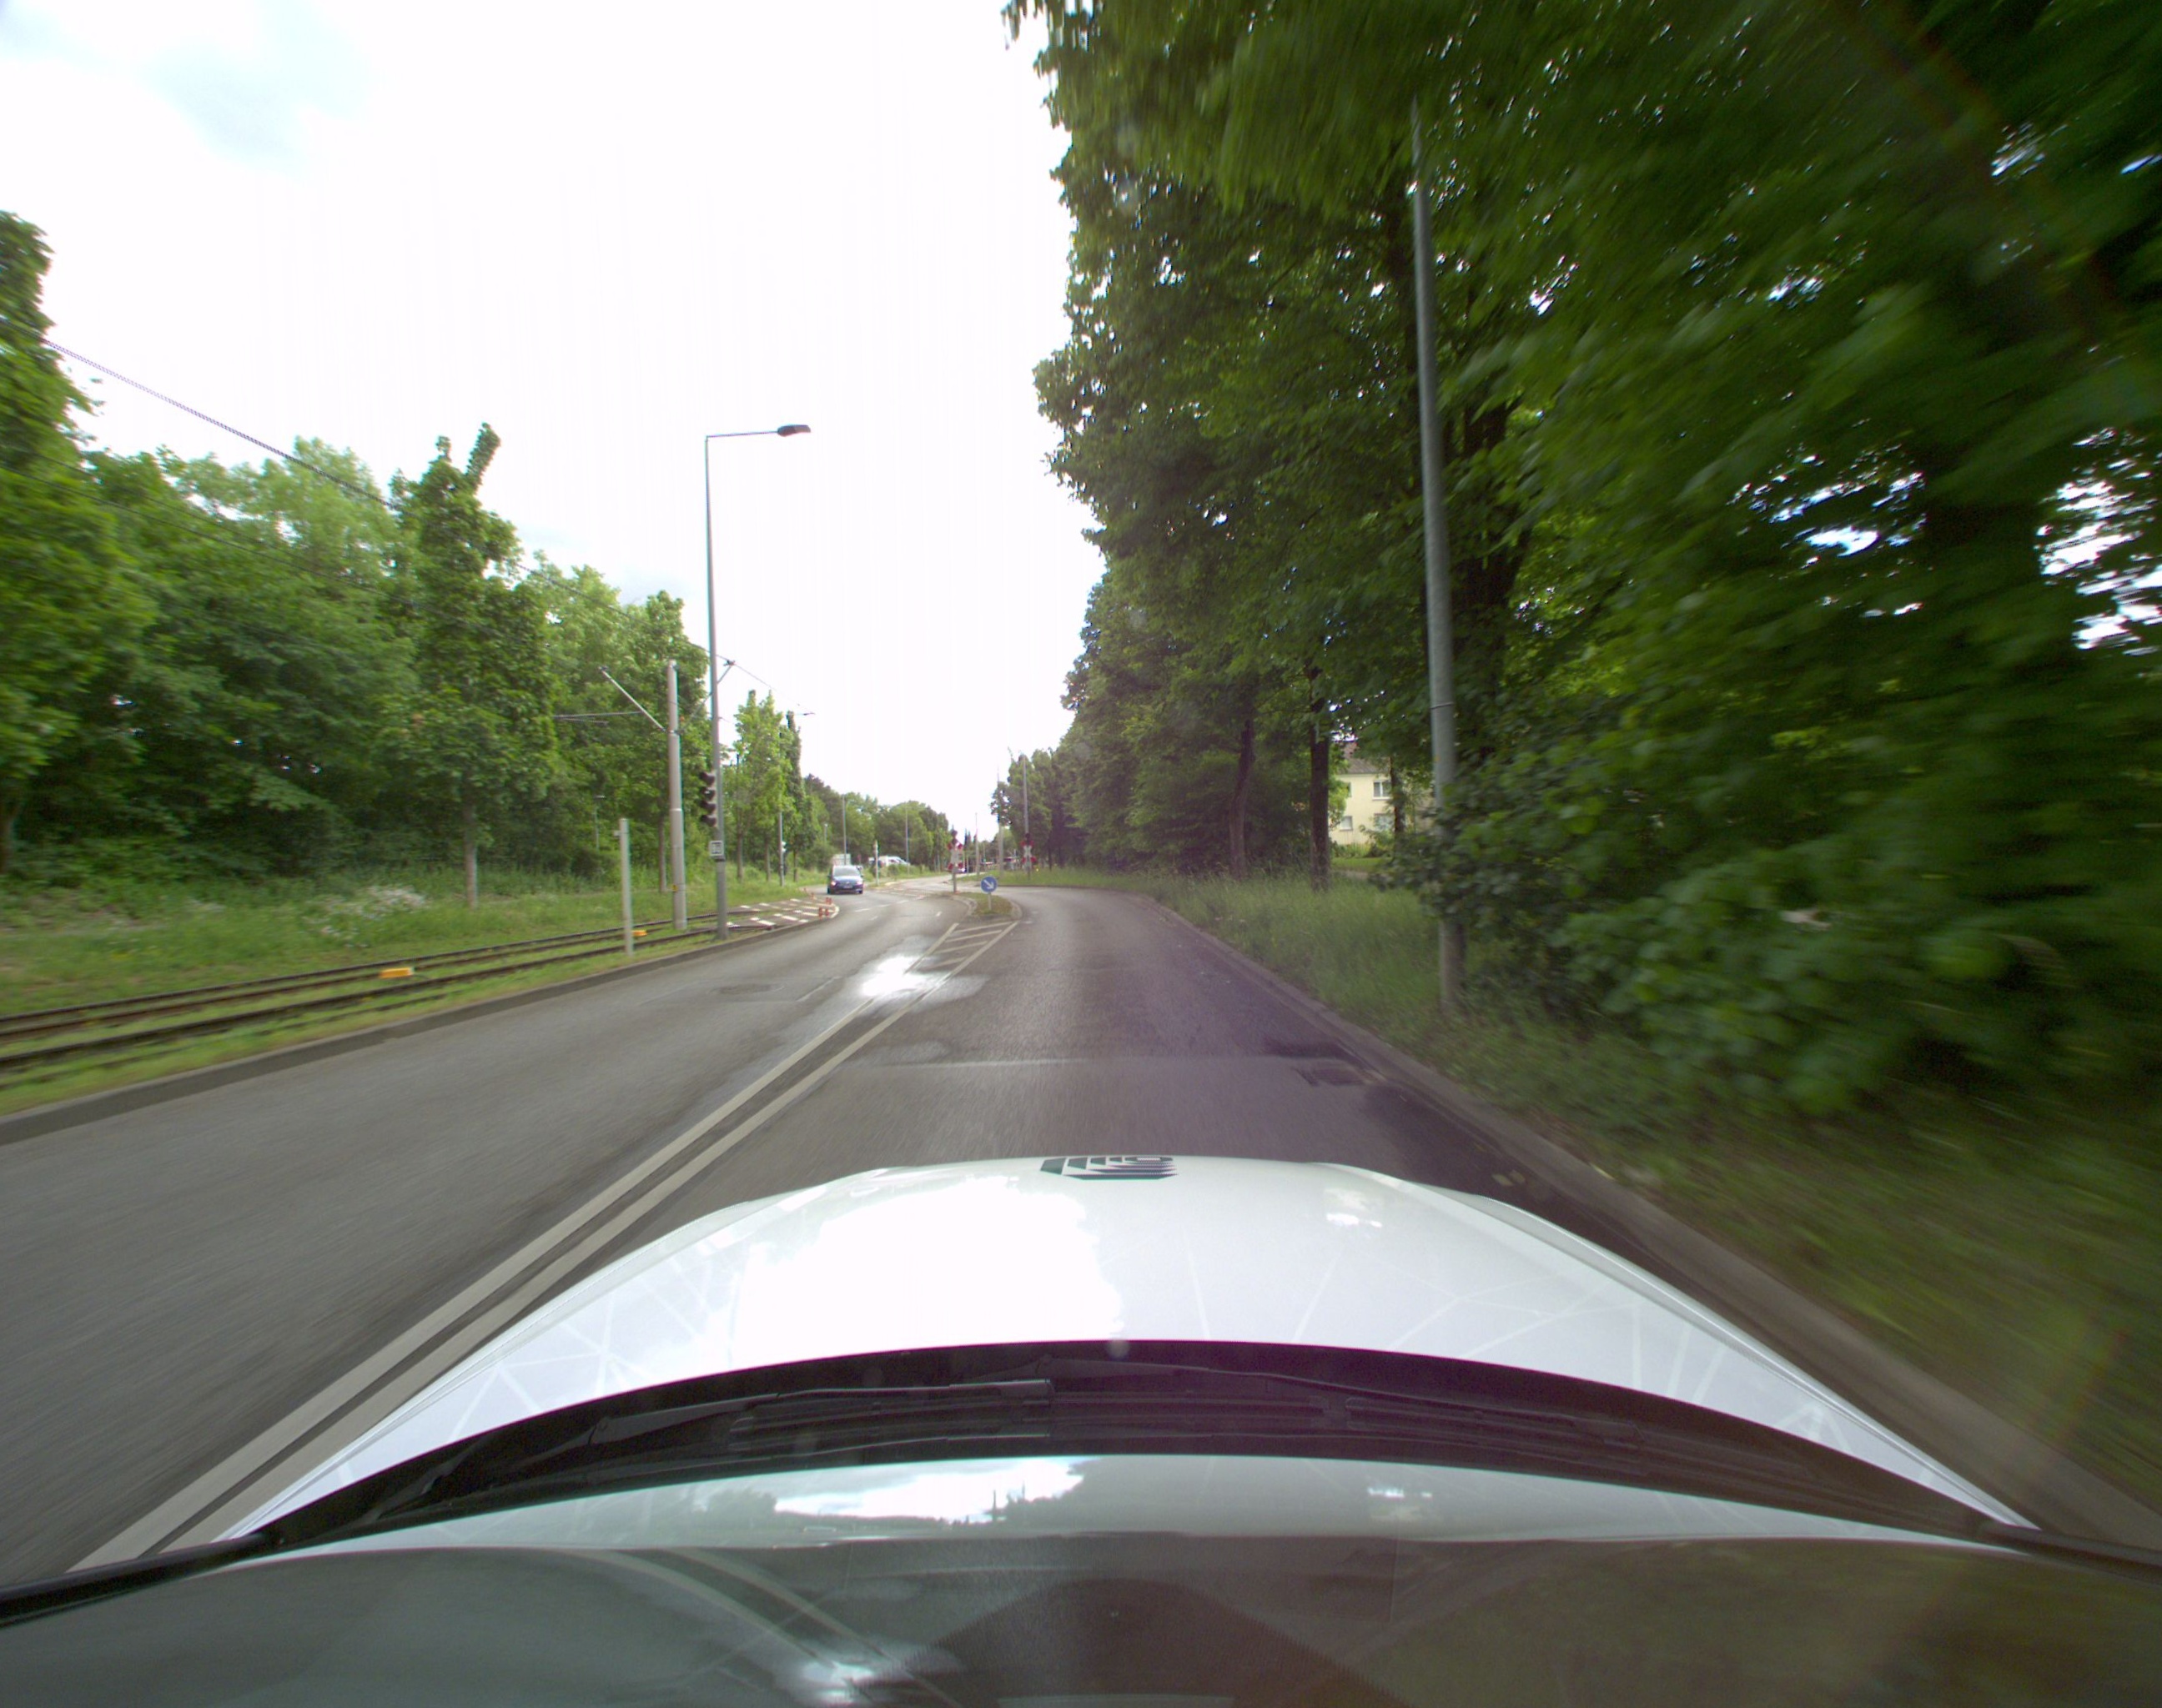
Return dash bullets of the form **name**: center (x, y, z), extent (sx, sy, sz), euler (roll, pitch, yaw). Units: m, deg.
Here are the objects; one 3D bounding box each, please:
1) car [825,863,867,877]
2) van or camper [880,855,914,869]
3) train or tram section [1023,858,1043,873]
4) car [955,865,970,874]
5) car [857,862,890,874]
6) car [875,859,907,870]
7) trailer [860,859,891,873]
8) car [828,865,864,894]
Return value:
- **car**: center (-30.580, 2.041, 106.071), extent (4.917, 1.585, 2.203), euler (-2, -1, -5)
- **van or camper**: center (-30.760, 1.376, 136.231), extent (5.322, 2.203, 1.997), euler (-2, -1, -4)
- **train or tram section**: center (-11.917, 2.758, 196.968), extent (3.004, 3.311, 34.629), euler (-2, -1, -6)
- **car**: center (-22.378, 2.909, 153.589), extent (1.987, 1.438, 4.426), euler (-4, 0, 0)
- **car**: center (-30.202, 2.058, 118.764), extent (4.308, 1.448, 1.831), euler (-4, -1, -8)
- **car**: center (-31.094, 1.717, 133.577), extent (4.622, 1.656, 2.002), euler (-2, -1, 3)
- **trailer**: center (-30.707, 1.781, 121.785), extent (3.975, 2.014, 1.907), euler (-2, -1, -1)
- **car**: center (-13.579, 1.426, 47.016), extent (1.872, 1.521, 4.214), euler (-2, 0, -17)
